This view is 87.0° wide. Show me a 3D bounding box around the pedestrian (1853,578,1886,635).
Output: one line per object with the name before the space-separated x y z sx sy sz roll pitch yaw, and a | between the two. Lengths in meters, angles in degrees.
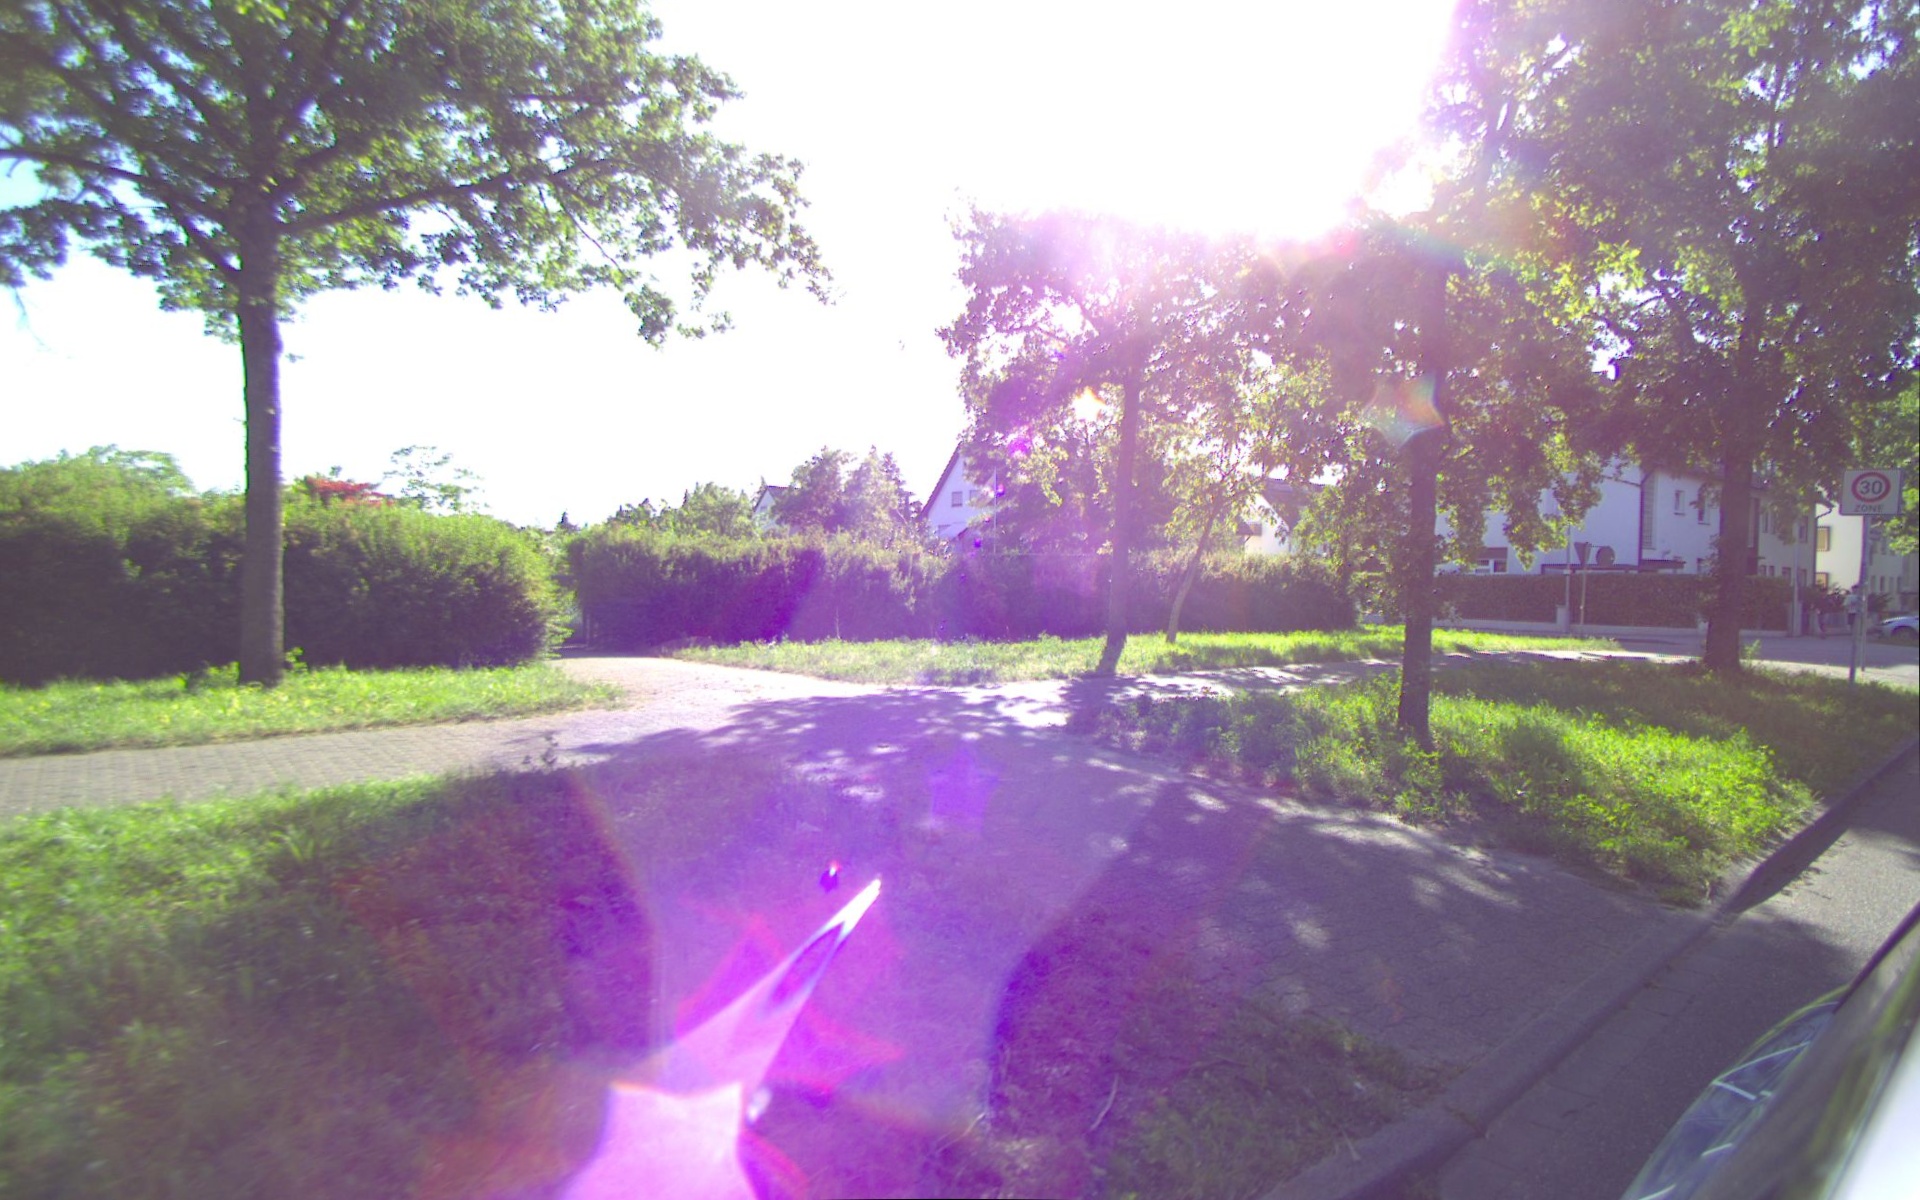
pedestrian | 31.124 0.212 34.624 0.854 1.889 0.665 1 1 -40

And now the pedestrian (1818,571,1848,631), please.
pedestrian | 30.548 0.027 35.411 0.819 2.038 0.610 1 1 -40

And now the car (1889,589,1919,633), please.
car | 35.033 0.453 34.647 1.906 1.497 4.511 0 2 -39
